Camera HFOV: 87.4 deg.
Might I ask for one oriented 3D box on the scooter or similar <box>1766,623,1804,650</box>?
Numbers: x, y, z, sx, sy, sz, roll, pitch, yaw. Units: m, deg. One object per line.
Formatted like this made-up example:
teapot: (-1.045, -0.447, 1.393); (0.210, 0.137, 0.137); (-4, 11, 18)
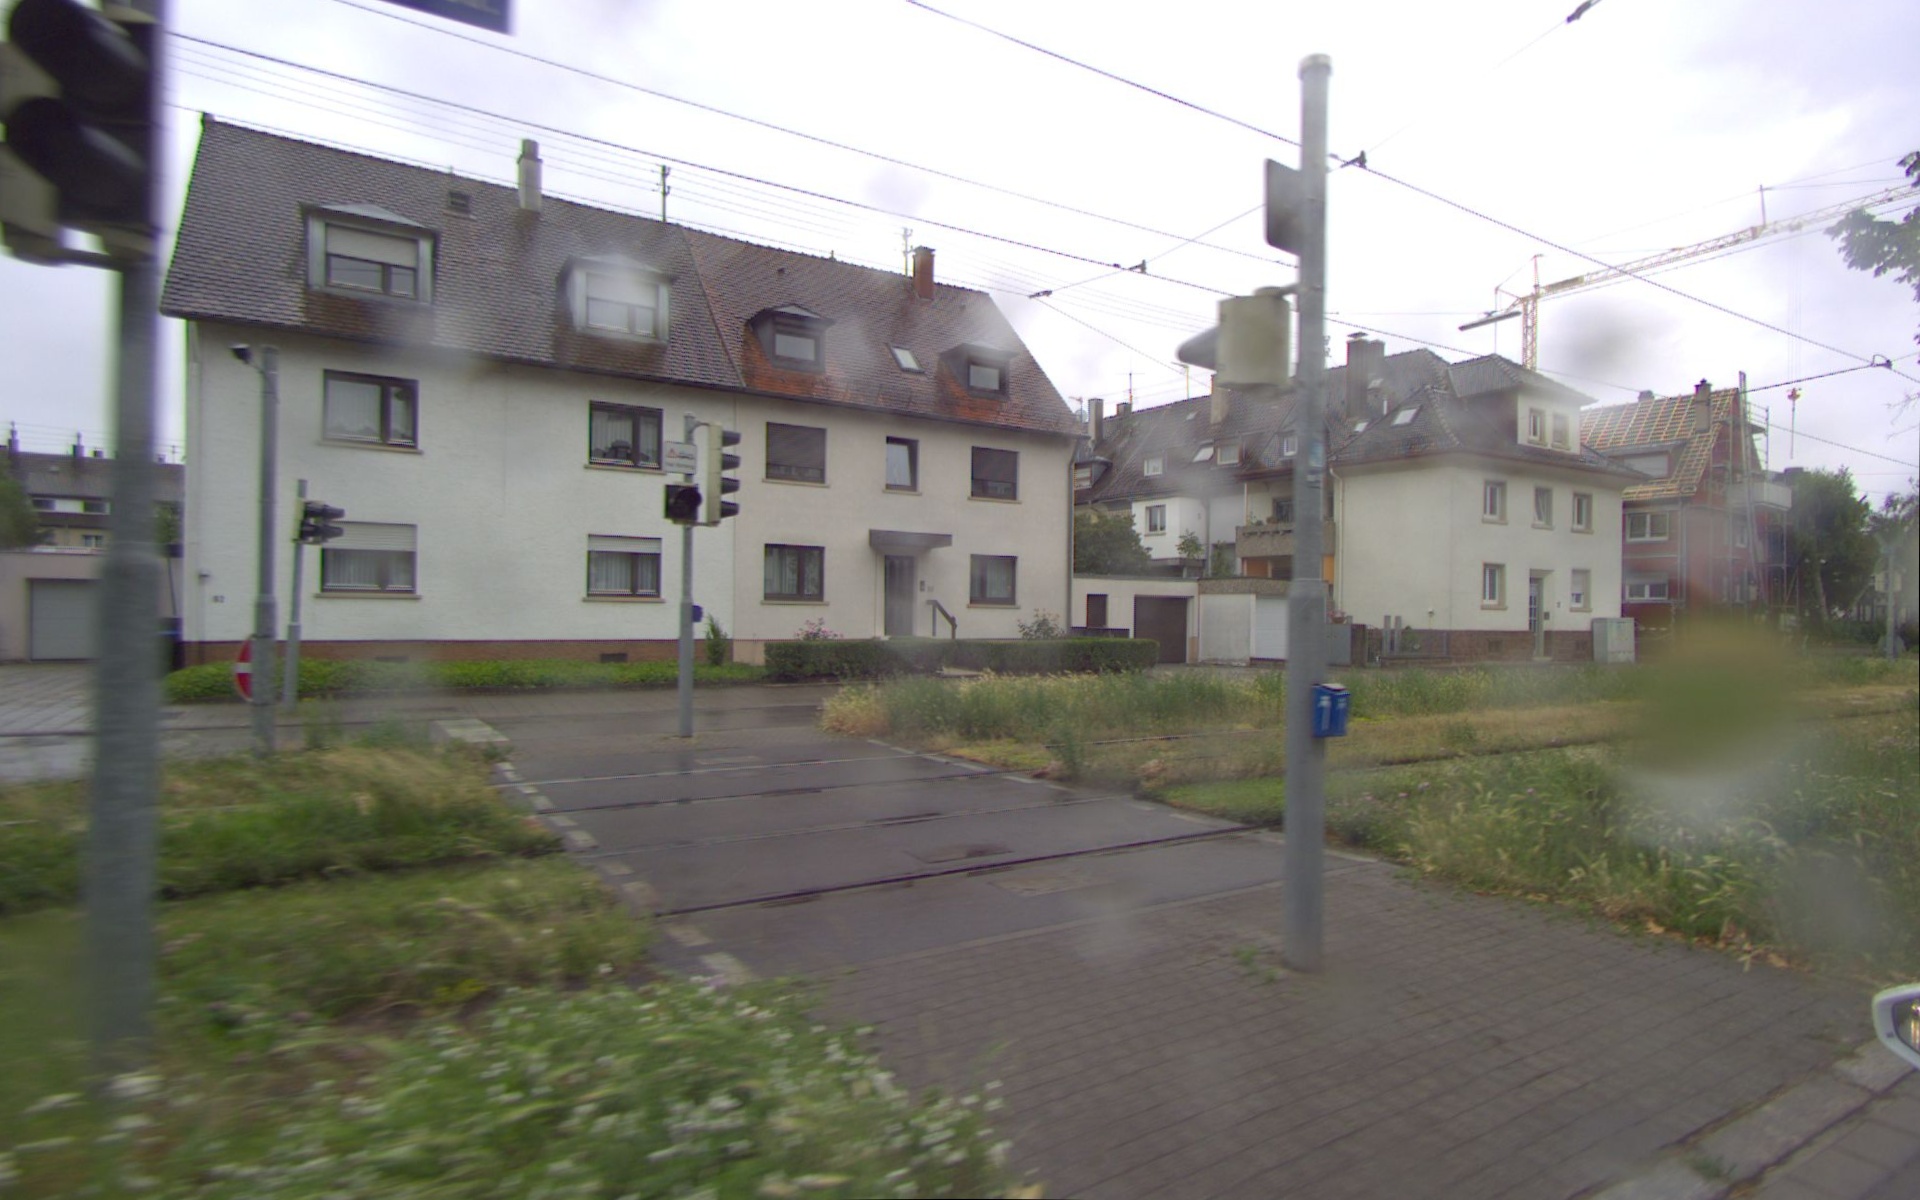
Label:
scooter or similar: (35.765, 1.590, 43.556); (1.257, 1.144, 0.441); (0, -1, 0)

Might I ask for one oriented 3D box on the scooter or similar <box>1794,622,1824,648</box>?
scooter or similar: (38.296, 1.581, 45.309); (1.261, 1.196, 0.394); (1, -1, -15)
